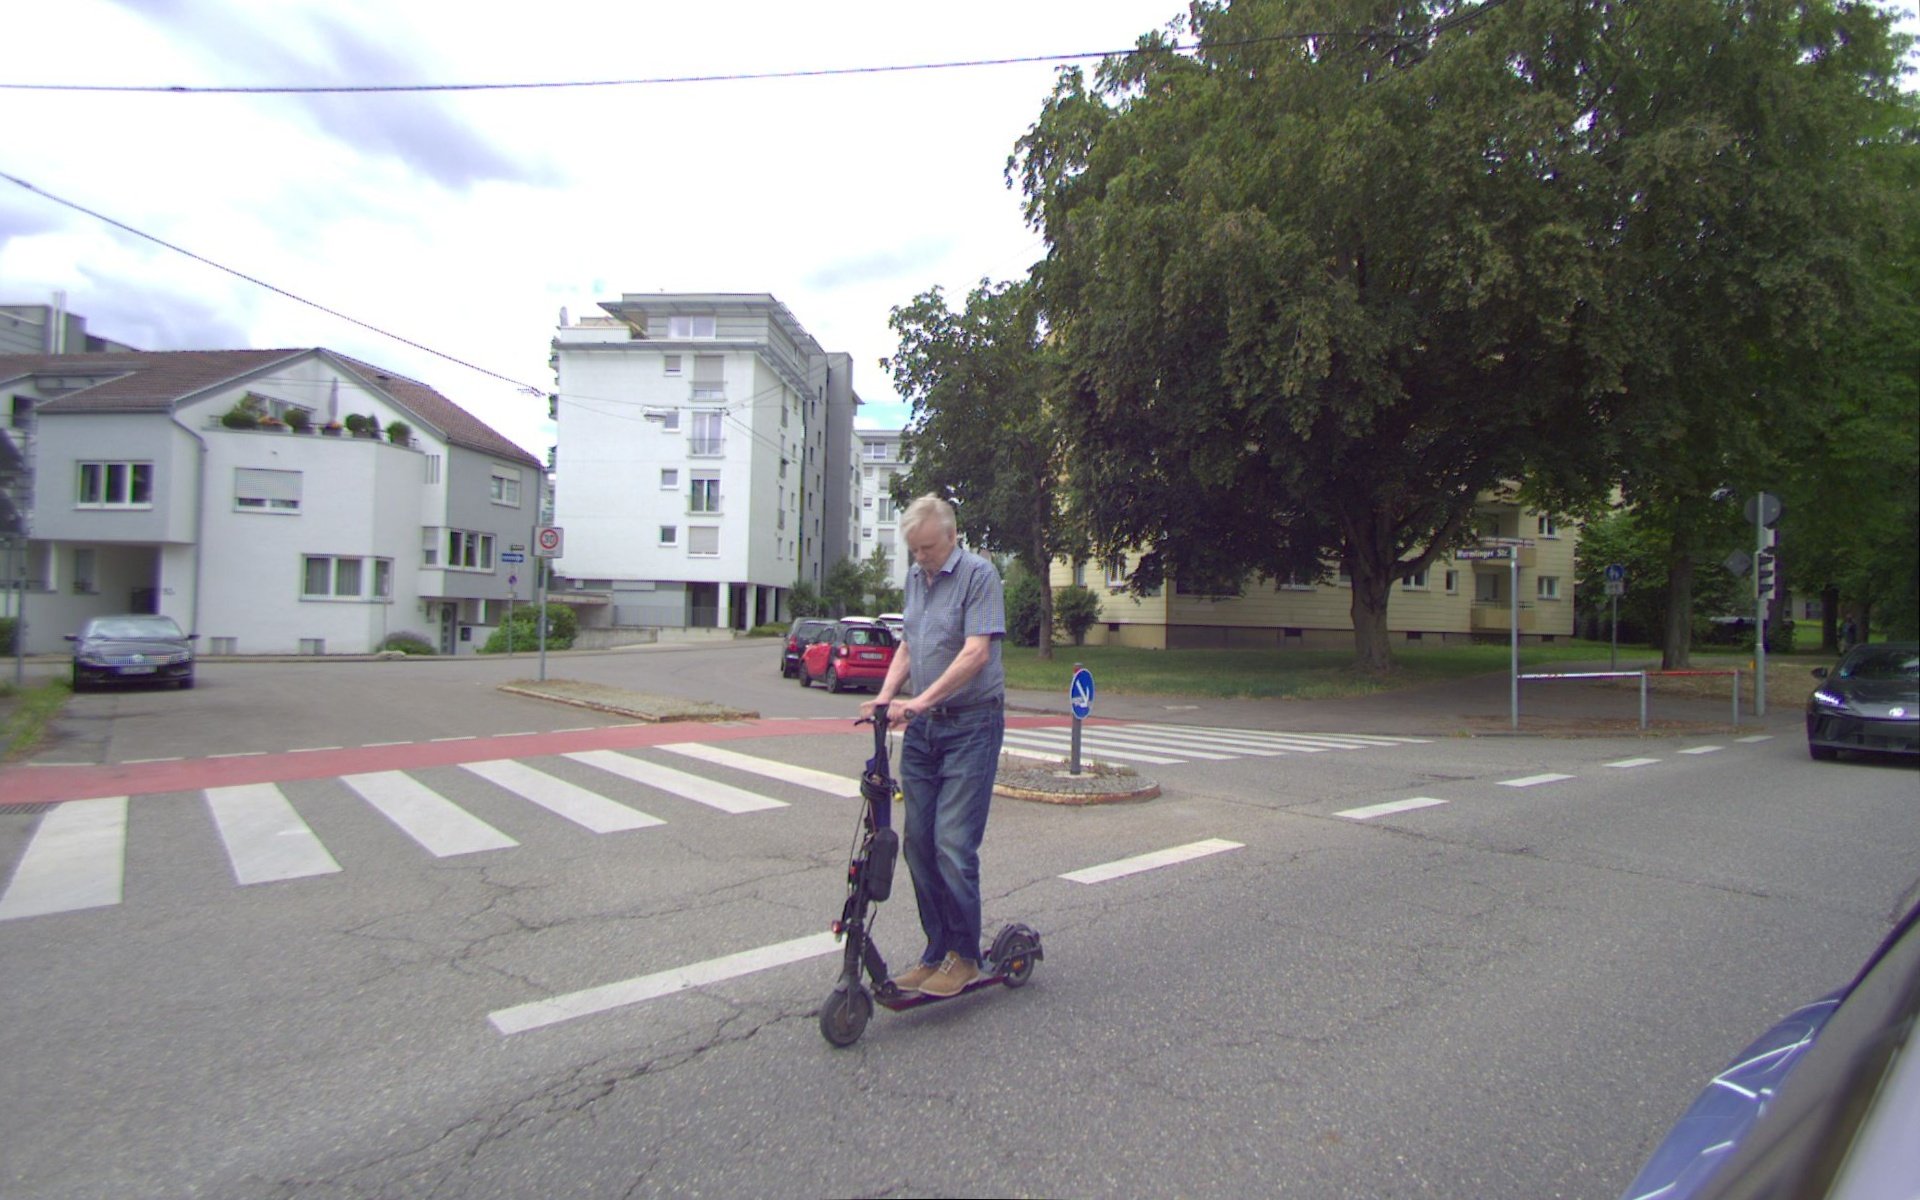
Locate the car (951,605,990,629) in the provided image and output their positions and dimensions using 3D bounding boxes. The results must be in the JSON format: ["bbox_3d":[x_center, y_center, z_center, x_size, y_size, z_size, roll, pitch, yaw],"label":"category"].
[{"bbox_3d":[0.695,1.033,63.350,1.766,1.430,4.060,1,0,10],"label":"car"}]

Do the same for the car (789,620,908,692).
[{"bbox_3d":[-2.596,1.246,23.157,1.661,1.526,2.923,2,-2,-29],"label":"car"}]

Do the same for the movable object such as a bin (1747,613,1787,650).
[{"bbox_3d":[38.928,1.497,48.844,1.002,1.662,1.278,0,1,-38],"label":"movable object such as a bin"}]

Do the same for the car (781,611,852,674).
[{"bbox_3d":[-3.978,1.140,27.858,1.781,1.611,3.830,0,-1,-9],"label":"car"}]

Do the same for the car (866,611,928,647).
[{"bbox_3d":[-2.624,1.183,43.098,1.766,1.372,4.060,1,0,10],"label":"car"}]

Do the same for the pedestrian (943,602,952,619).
[{"bbox_3d":[-1.154,0.984,91.402,0.694,1.510,0.712,-1,-2,-6],"label":"pedestrian"}]

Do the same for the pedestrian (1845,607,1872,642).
[{"bbox_3d":[36.144,0.986,40.708,0.594,1.399,0.689,0,0,-35],"label":"pedestrian"}]

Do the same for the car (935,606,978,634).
[{"bbox_3d":[-0.151,1.123,58.078,1.766,1.430,4.060,1,0,10],"label":"car"}]

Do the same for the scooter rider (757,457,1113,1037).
[{"bbox_3d":[-0.047,0.458,3.749,0.680,1.752,1.179,0,-3,40],"label":"scooter rider"}]

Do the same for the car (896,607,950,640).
[{"bbox_3d":[-1.726,1.102,48.266,1.766,1.430,4.060,1,0,10],"label":"car"}]

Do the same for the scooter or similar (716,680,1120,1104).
[{"bbox_3d":[-0.085,0.907,3.724,0.680,1.154,1.438,0,-2,40],"label":"scooter or similar"}]

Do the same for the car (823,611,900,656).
[{"bbox_3d":[-3.524,1.191,36.962,1.766,1.452,4.060,1,0,10],"label":"car"}]

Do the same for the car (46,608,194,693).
[{"bbox_3d":[-16.505,0.911,19.971,2.002,1.457,4.794,2,-1,-39],"label":"car"}]

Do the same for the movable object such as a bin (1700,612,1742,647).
[{"bbox_3d":[37.772,1.443,50.247,1.002,1.662,1.435,0,1,-38],"label":"movable object such as a bin"}]

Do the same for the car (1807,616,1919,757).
[{"bbox_3d":[12.334,1.094,12.839,4.222,1.571,1.802,4,-3,-41],"label":"car"}]
